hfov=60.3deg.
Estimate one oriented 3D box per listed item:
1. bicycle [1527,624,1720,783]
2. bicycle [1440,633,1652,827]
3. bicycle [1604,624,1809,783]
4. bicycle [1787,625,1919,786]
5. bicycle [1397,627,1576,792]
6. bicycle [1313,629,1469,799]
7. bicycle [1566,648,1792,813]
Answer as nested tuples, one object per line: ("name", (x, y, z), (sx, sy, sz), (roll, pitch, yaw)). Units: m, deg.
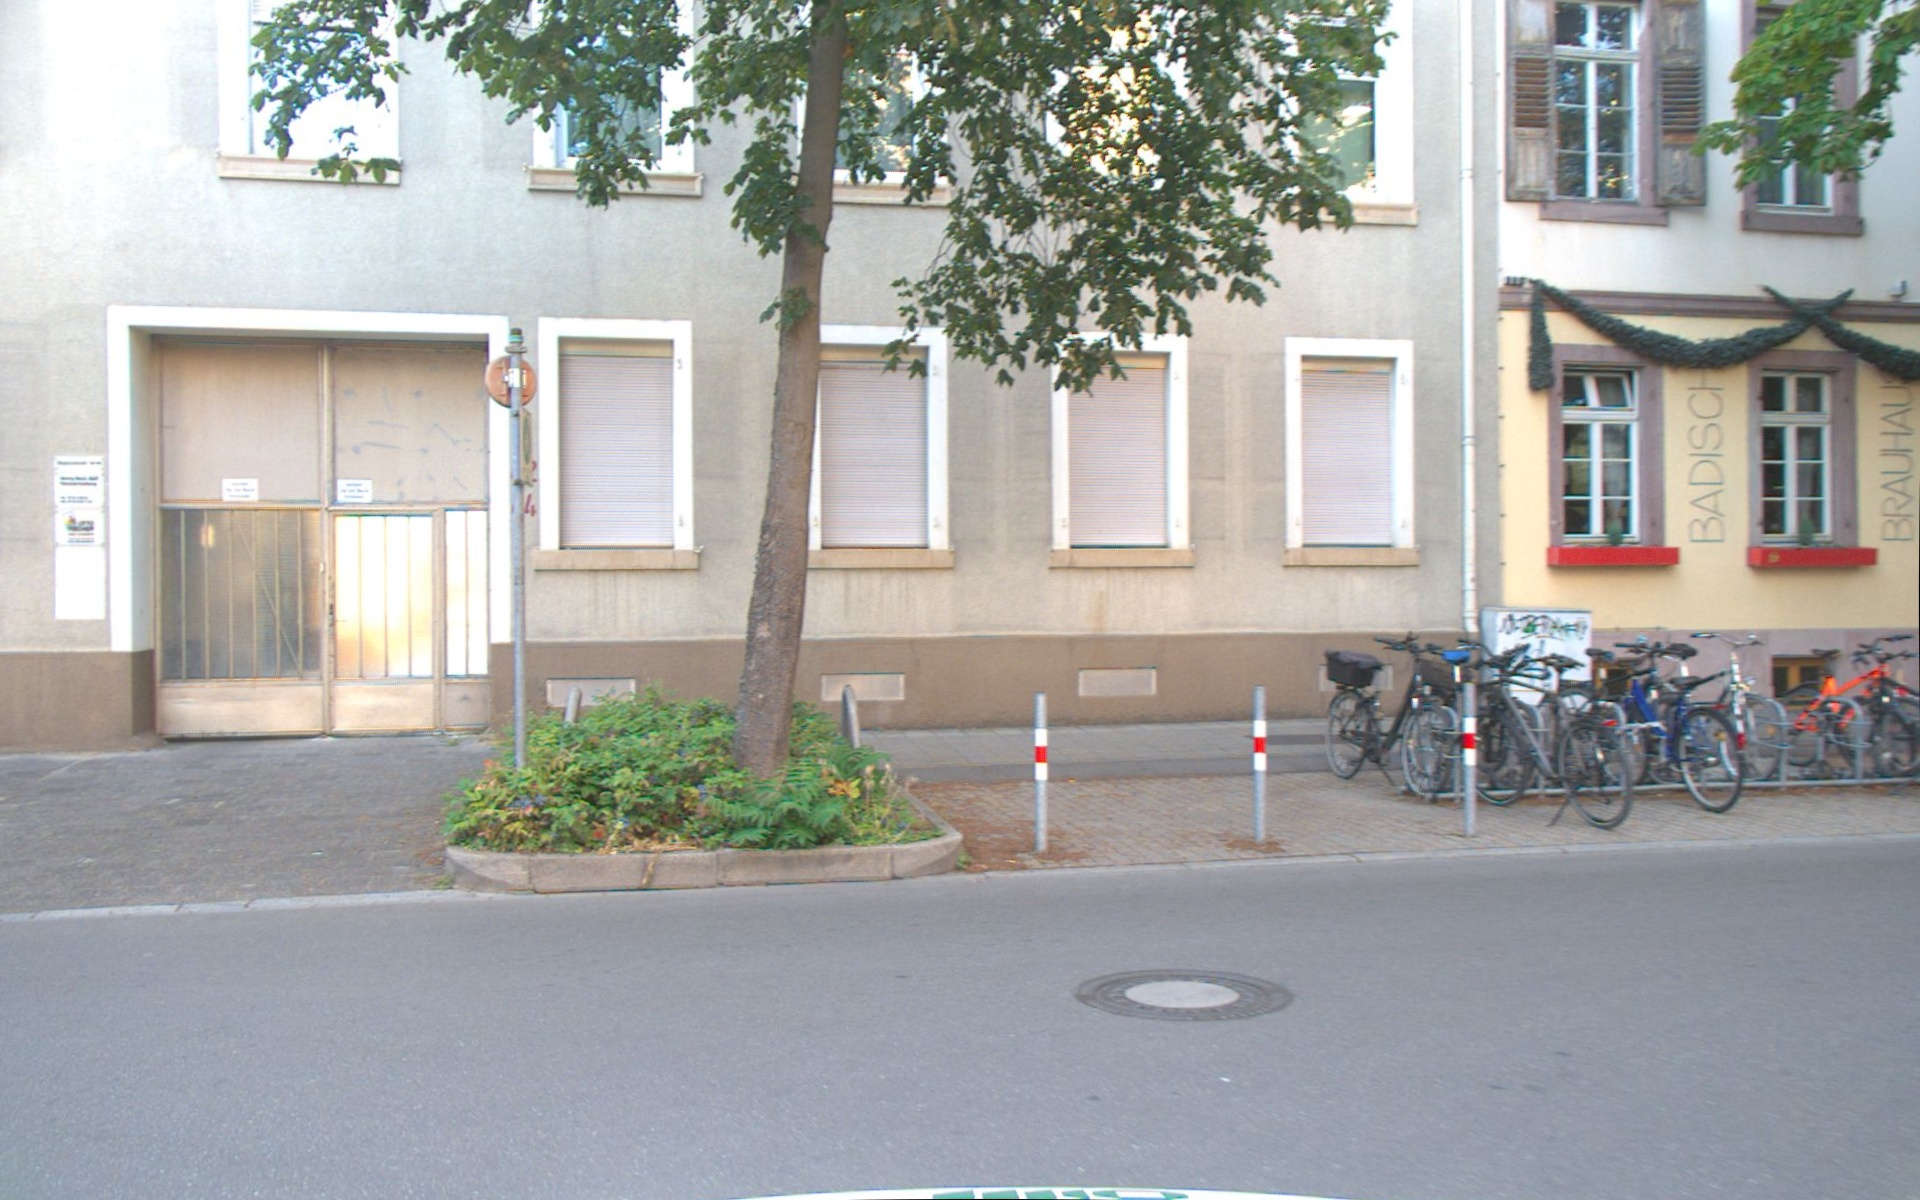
("bicycle", (5.371, 0.796, 13.529), (0.412, 1.165, 2.036), (-1, 0, -12))
("bicycle", (4.007, 0.842, 11.481), (0.437, 1.165, 2.037), (-1, 0, -10))
("bicycle", (6.066, 0.798, 13.570), (0.412, 1.165, 2.036), (-1, 0, -12))
("bicycle", (7.274, 0.798, 12.768), (0.412, 1.165, 2.036), (-1, 0, -12))
("bicycle", (4.151, 0.824, 13.202), (0.412, 1.165, 2.036), (-1, 0, -12))
("bicycle", (3.313, 0.834, 12.888), (0.436, 1.165, 2.039), (-1, 0, -7))
("bicycle", (5.163, 0.899, 12.028), (0.412, 1.021, 2.036), (-1, 0, -12))
